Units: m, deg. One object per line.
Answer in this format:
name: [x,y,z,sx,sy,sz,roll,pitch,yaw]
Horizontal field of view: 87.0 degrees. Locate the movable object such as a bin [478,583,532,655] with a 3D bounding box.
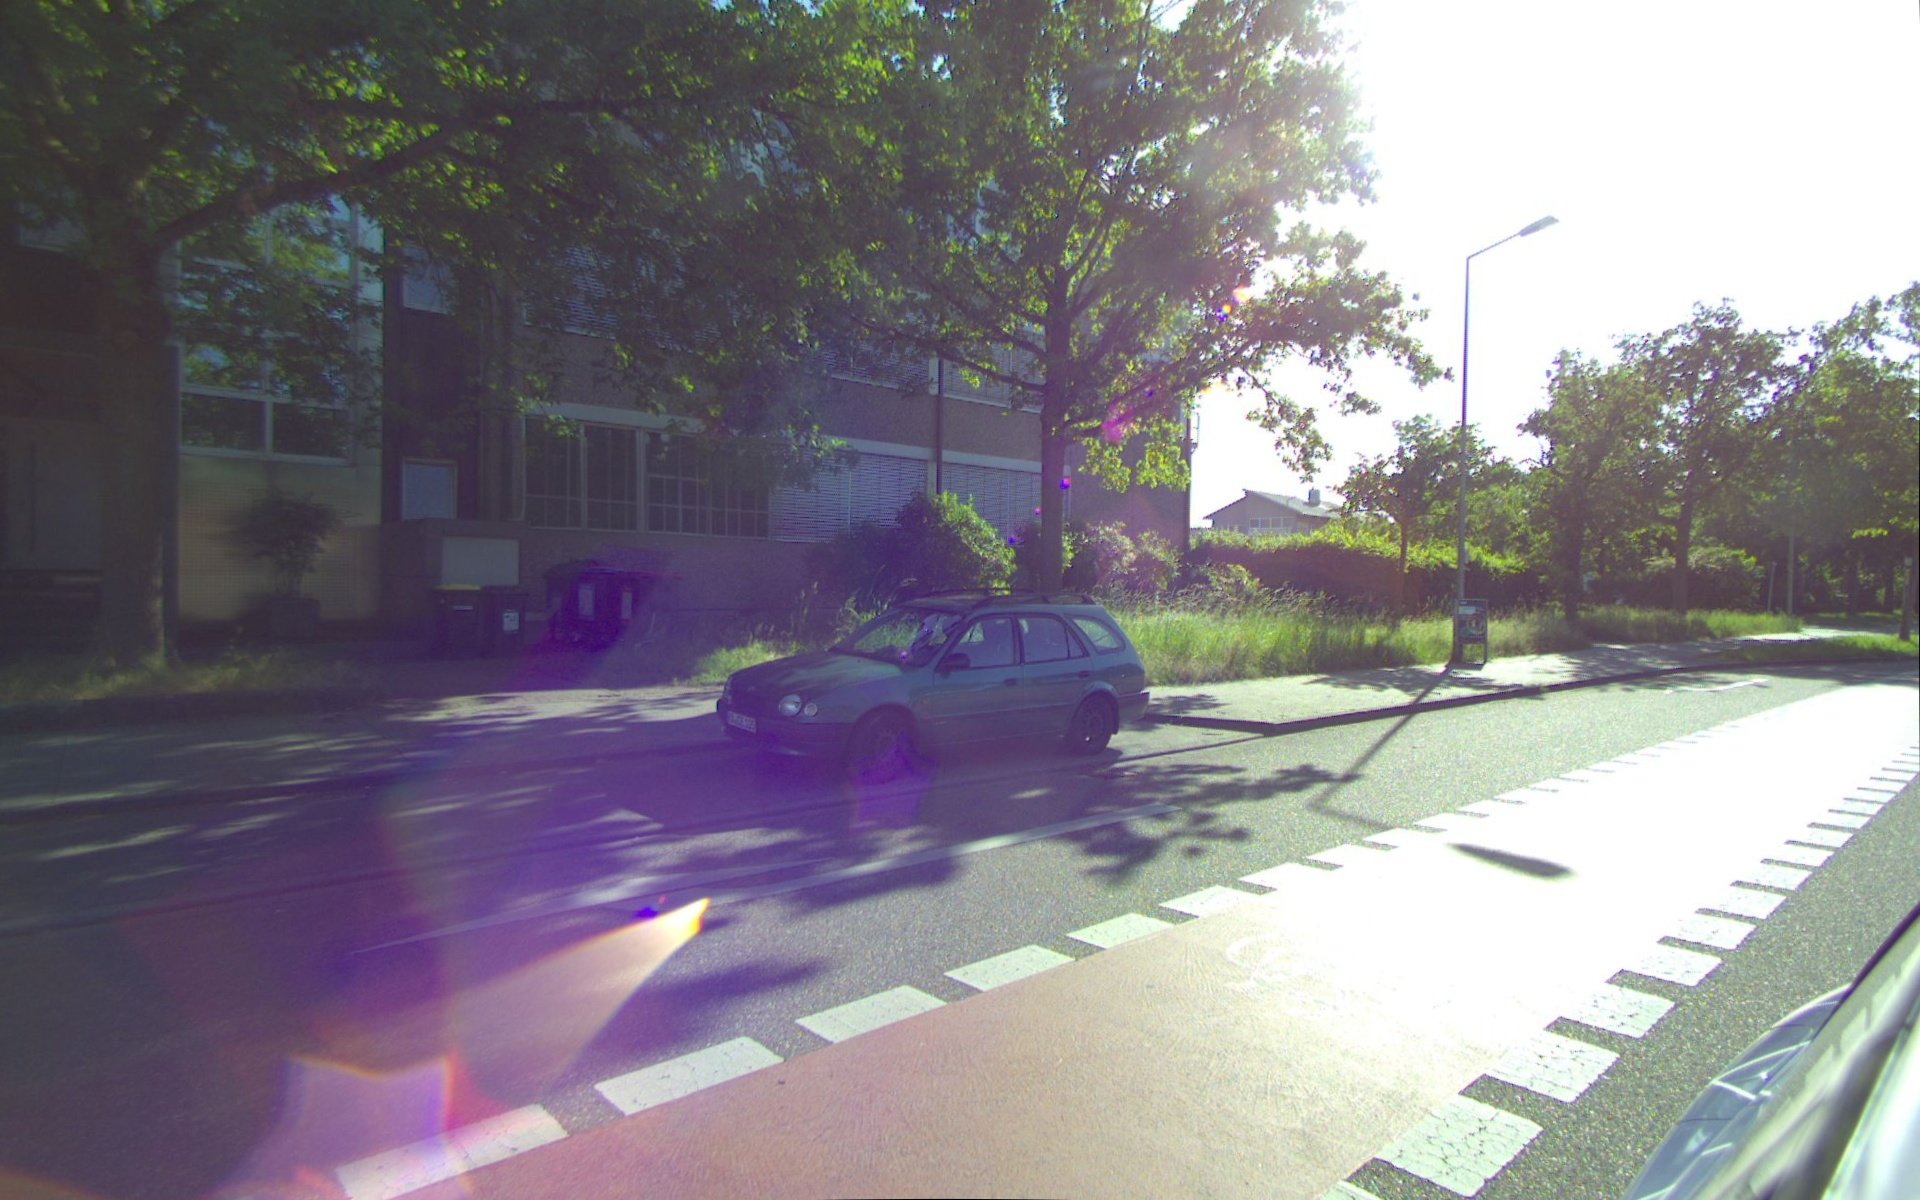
movable object such as a bin: [-6.747,0.268,15.013,0.566,1.020,0.629,-1,1,-41]

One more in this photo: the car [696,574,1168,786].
car: [-0.091,0.529,9.086,4.129,1.446,1.596,-1,3,-40]

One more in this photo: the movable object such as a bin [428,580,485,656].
movable object such as a bin: [-7.229,0.246,14.514,0.571,1.045,0.713,0,1,-41]
